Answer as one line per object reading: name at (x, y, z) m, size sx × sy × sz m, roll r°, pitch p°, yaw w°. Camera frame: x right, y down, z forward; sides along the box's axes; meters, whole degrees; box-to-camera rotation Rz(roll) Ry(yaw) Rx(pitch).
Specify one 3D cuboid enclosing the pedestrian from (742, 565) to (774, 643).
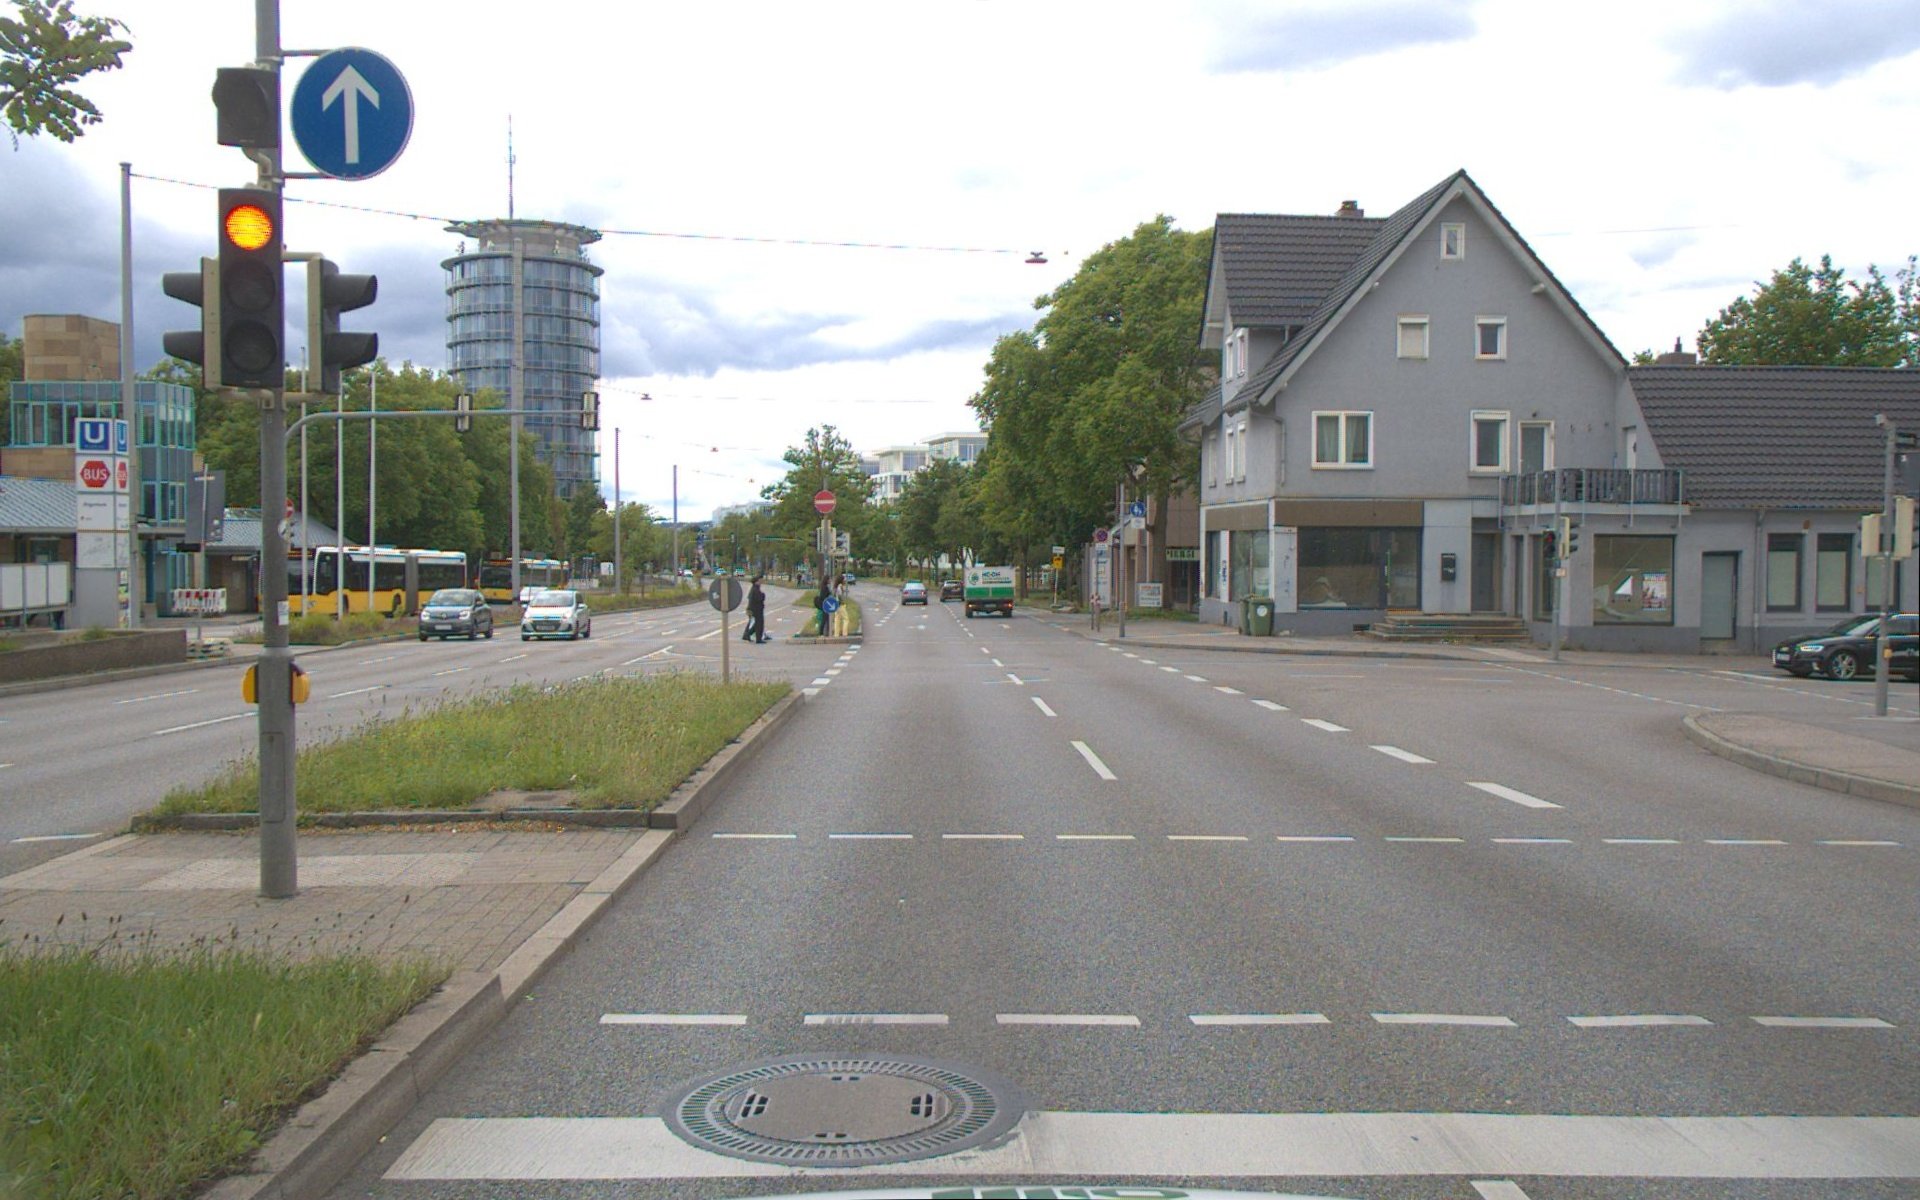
pedestrian at (-5.328, 0.107, 43.618) m, size 0.814 × 2.049 × 0.545 m, roll 0°, pitch 0°, yaw -8°

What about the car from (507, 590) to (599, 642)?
car at (-12.439, 0.451, 50.765) m, size 1.953 × 1.512 × 3.998 m, roll -1°, pitch 0°, yaw -2°

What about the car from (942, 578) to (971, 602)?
car at (-0.295, -0.721, 116.572) m, size 1.953 × 1.579 × 3.999 m, roll 1°, pitch 0°, yaw -1°

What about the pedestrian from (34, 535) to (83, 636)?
pedestrian at (-18.529, -0.290, 34.006) m, size 0.668 × 2.049 × 0.645 m, roll 0°, pitch 0°, yaw -5°

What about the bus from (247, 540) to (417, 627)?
bus at (-27.066, -0.705, 71.968) m, size 2.772 × 3.490 × 10.738 m, roll 0°, pitch 0°, yaw 3°

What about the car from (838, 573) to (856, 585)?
car at (-14.644, -2.740, 214.782) m, size 1.957 × 1.579 × 3.991 m, roll -1°, pitch 0°, yaw -10°

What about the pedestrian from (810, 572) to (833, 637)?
pedestrian at (-3.790, 0.117, 45.197) m, size 0.572 × 1.746 × 0.545 m, roll 0°, pitch 0°, yaw -8°

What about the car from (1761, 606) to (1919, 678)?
car at (19.558, 0.903, 35.334) m, size 4.006 × 1.395 × 1.799 m, roll 2°, pitch 0°, yaw -2°

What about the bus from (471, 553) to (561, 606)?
bus at (-30.380, -1.381, 113.660) m, size 2.772 × 3.490 × 10.738 m, roll 0°, pitch 0°, yaw 3°

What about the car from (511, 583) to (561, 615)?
car at (-23.127, -0.048, 90.380) m, size 1.770 × 1.691 × 3.999 m, roll 0°, pitch 0°, yaw -2°

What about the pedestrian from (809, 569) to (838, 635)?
pedestrian at (-3.677, 0.056, 44.488) m, size 0.731 × 1.746 × 0.582 m, roll 0°, pitch 0°, yaw -8°

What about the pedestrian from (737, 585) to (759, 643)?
pedestrian at (-5.675, 0.374, 44.332) m, size 0.533 × 1.522 × 0.485 m, roll 0°, pitch 0°, yaw -13°

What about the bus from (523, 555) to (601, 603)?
bus at (-29.815, -1.545, 124.409) m, size 2.772 × 3.490 × 10.738 m, roll 0°, pitch 0°, yaw 3°

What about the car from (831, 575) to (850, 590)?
car at (-12.755, -1.899, 175.999) m, size 1.954 × 1.545 × 3.996 m, roll 0°, pitch 1°, yaw -5°

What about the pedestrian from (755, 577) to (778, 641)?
pedestrian at (-5.292, 0.234, 45.254) m, size 0.601 × 1.746 × 0.545 m, roll 0°, pitch 0°, yaw -8°

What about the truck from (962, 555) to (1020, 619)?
truck at (1.361, -0.644, 74.164) m, size 2.420 × 2.656 × 6.549 m, roll 1°, pitch 1°, yaw 1°

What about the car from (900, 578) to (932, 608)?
car at (-2.812, -0.450, 106.245) m, size 1.953 × 1.862 × 3.999 m, roll 0°, pitch 0°, yaw -1°

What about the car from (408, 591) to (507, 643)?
car at (-15.447, 0.500, 51.050) m, size 1.953 × 1.512 × 3.998 m, roll -1°, pitch 0°, yaw -2°

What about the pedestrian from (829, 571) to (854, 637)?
pedestrian at (-3.153, 0.094, 43.960) m, size 0.641 × 1.746 × 0.451 m, roll 0°, pitch 0°, yaw -8°

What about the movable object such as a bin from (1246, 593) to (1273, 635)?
movable object such as a bin at (7.976, 0.369, 44.025) m, size 0.592 × 1.078 × 0.589 m, roll 1°, pitch 0°, yaw 1°

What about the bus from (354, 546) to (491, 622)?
bus at (-26.527, -0.762, 82.253) m, size 2.772 × 3.490 × 10.738 m, roll 0°, pitch 0°, yaw 3°

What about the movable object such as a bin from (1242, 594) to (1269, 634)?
movable object such as a bin at (7.969, 0.371, 44.663) m, size 0.603 × 1.061 × 0.589 m, roll 1°, pitch 0°, yaw 1°
